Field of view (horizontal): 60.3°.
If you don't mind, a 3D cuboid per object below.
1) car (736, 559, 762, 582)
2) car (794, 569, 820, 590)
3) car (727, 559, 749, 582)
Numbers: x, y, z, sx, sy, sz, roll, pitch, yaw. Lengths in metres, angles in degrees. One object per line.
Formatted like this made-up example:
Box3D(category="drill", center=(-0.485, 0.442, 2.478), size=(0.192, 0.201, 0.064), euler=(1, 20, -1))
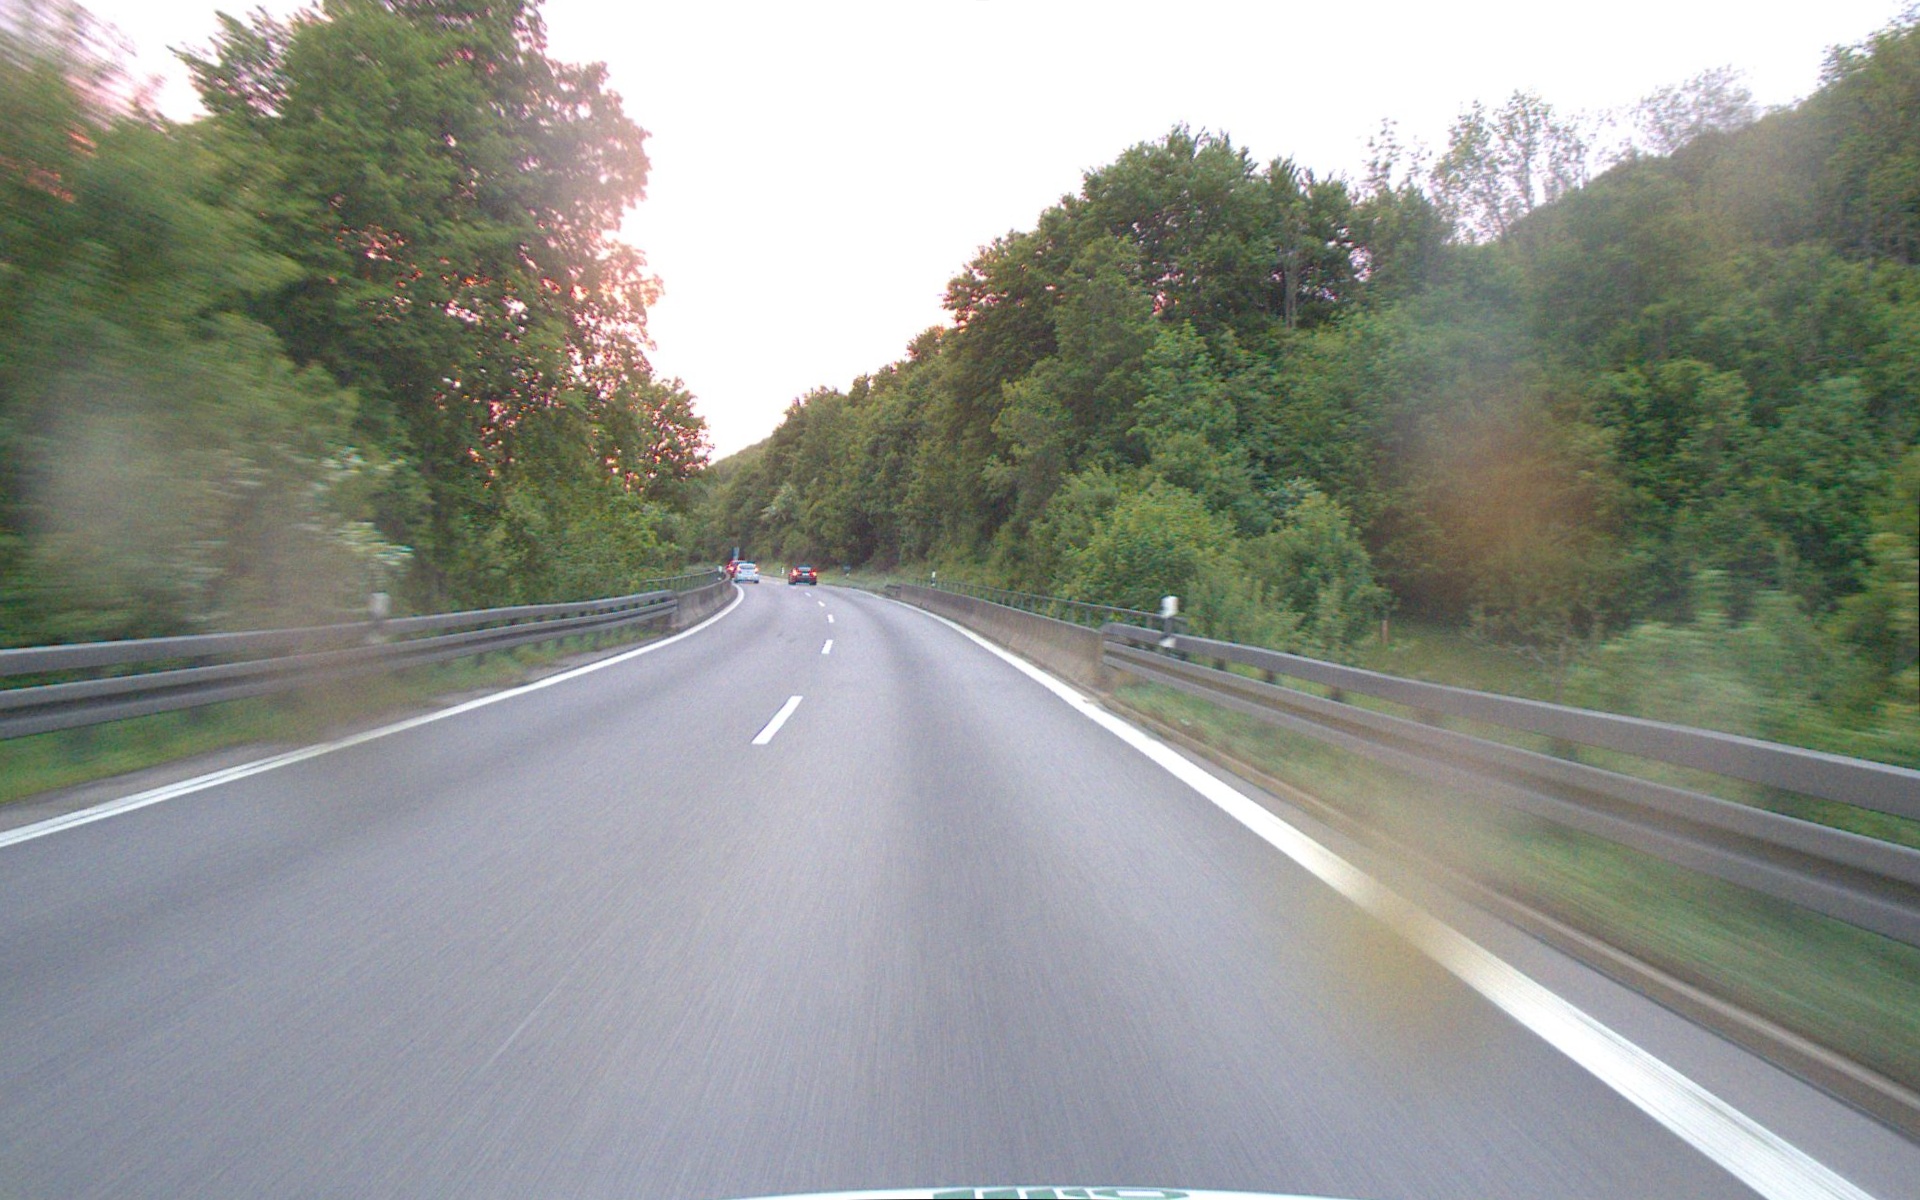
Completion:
Box3D(category="car", center=(-16.165, -2.243, 126.840), size=(1.685, 1.528, 3.996), euler=(2, -1, -5))
Box3D(category="car", center=(-11.517, -1.572, 124.041), size=(1.842, 1.492, 3.994), euler=(-1, 1, -7))
Box3D(category="car", center=(-18.399, -2.430, 136.963), size=(1.687, 1.663, 3.992), euler=(-3, 0, -9))
